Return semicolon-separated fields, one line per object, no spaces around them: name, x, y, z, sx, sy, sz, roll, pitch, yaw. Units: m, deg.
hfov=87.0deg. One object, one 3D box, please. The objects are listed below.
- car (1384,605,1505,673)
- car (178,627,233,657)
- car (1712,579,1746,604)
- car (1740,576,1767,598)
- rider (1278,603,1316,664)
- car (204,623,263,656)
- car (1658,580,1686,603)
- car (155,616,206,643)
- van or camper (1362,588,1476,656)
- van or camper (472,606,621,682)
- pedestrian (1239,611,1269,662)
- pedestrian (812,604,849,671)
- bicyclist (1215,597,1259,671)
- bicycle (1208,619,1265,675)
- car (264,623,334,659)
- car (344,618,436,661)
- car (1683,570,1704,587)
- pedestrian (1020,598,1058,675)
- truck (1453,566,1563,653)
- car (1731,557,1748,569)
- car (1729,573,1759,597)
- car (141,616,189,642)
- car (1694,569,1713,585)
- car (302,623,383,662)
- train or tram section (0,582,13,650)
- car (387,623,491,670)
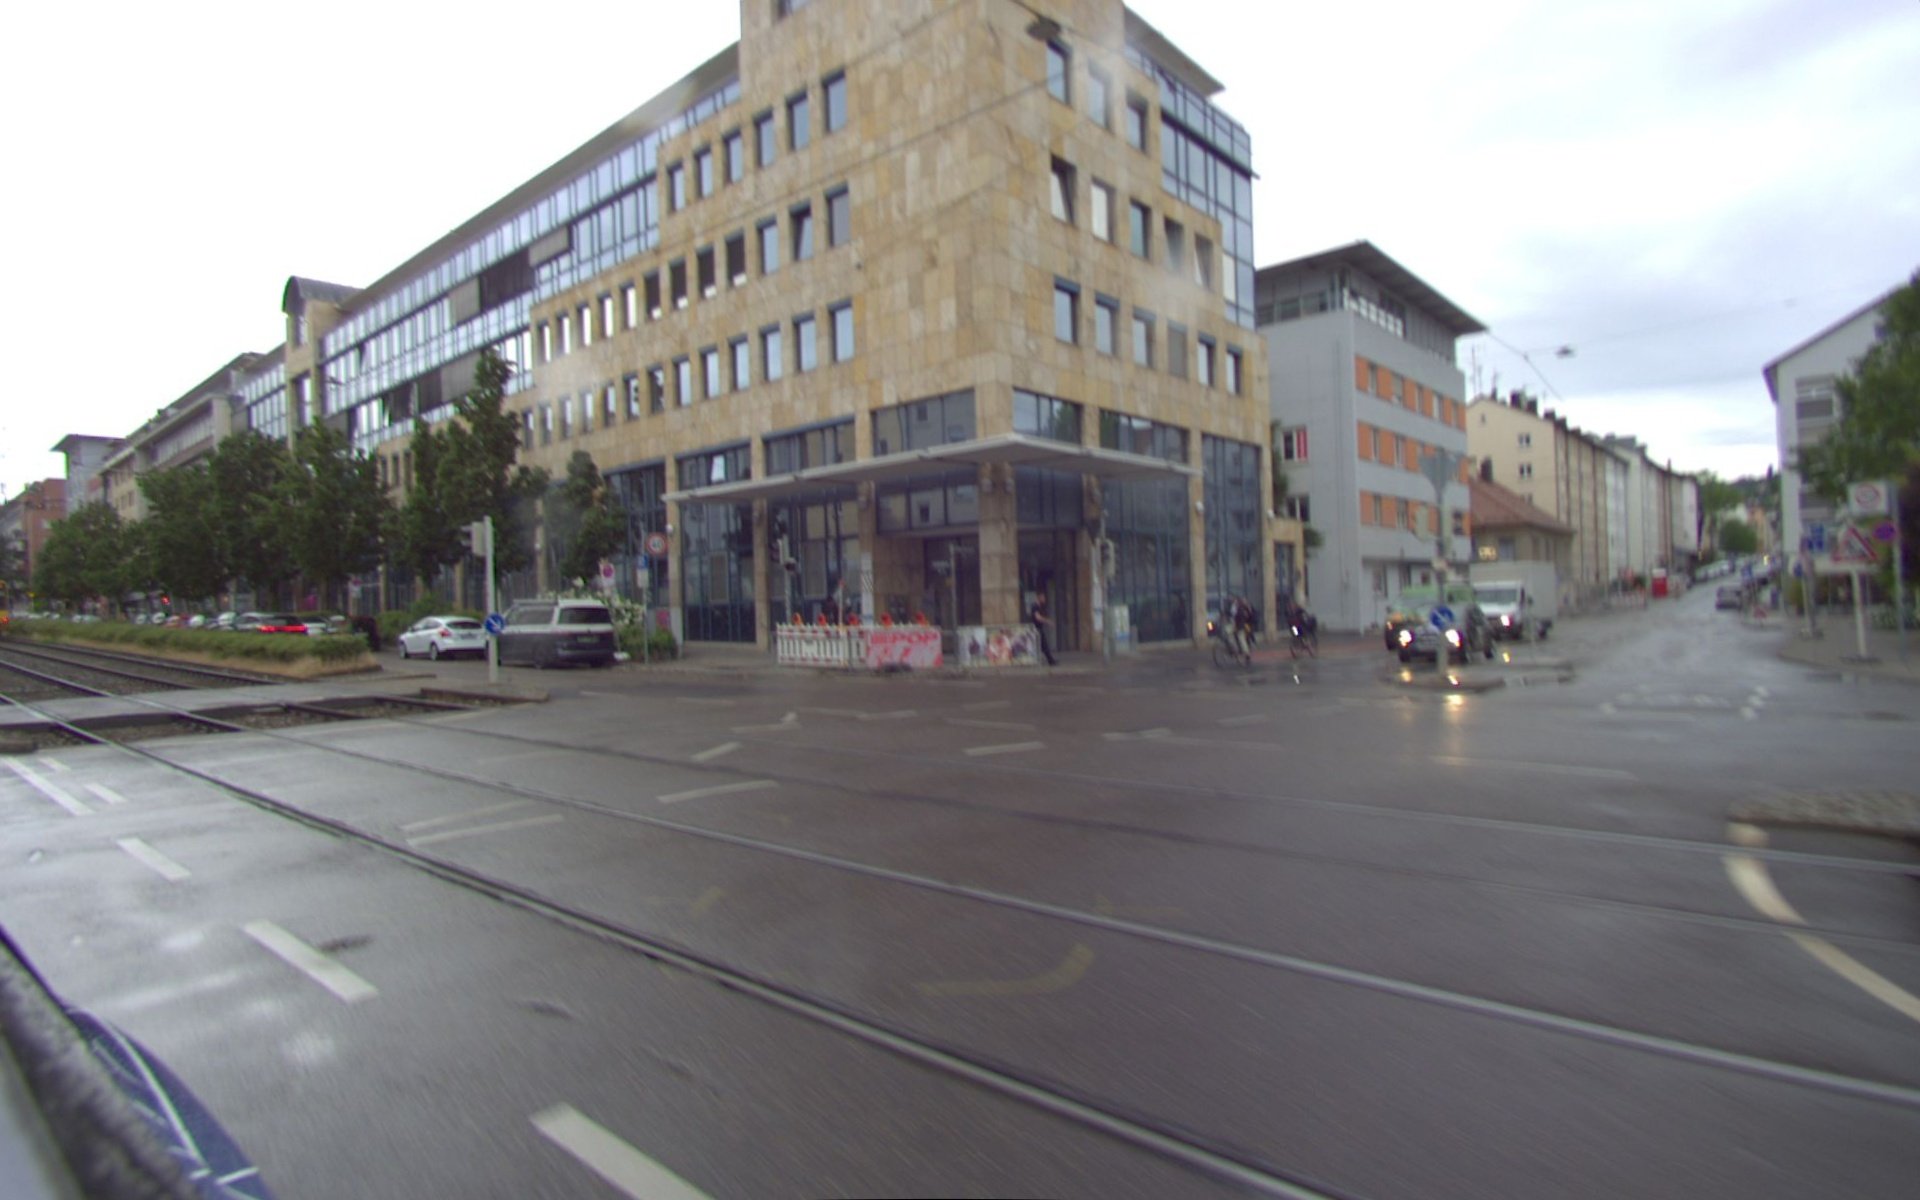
car;12.373;0.944;25.717;1.889;1.541;3.948;-2;-1;39
car;-42.351;2.309;56.748;4.620;1.552;1.631;-1;-1;42
car;56.879;-0.650;74.853;1.780;1.747;4.110;-2;0;40
car;74.371;-1.233;94.861;1.780;1.884;3.970;-2;0;40
rider;9.646;0.949;28.948;0.783;1.688;0.701;-2;-1;41
car;-37.733;2.036;52.518;4.291;1.613;1.631;-1;-1;42
car;64.488;-0.769;91.672;1.655;2.029;3.437;-3;-1;41
car;-46.761;1.741;60.687;4.620;1.552;1.631;-1;-1;42
van or camper;15.304;0.688;33.600;2.095;2.077;5.030;-2;-1;40
van or camper;-12.276;1.199;29.835;5.196;2.012;1.996;0;0;42
pedestrian;9.686;1.212;33.328;0.703;1.649;0.573;-2;-1;42
pedestrian;-3.609;1.049;28.223;0.679;1.828;0.693;-3;-1;44
bicyclist;6.944;0.841;25.388;0.783;1.818;0.701;-2;-1;41
bicycle;6.936;1.155;25.351;0.659;1.321;1.746;-2;-1;40
car;-29.451;1.801;45.051;4.191;1.509;1.631;-1;-1;42
car;-21.996;1.521;38.998;4.291;1.497;1.672;-2;-1;40
car;90.987;-2.620;125.543;1.997;2.029;3.950;-1;-1;37
pedestrian;1.904;0.875;24.430;0.667;1.794;0.705;-2;-1;-14
truck;22.105;0.329;40.634;2.459;3.188;7.077;-2;-1;40
car;138.438;-6.513;179.687;2.001;2.029;3.942;-1;-1;44
car;66.072;-1.263;85.245;1.780;1.884;3.970;-2;0;40
car;-50.342;1.817;64.037;4.620;1.552;1.631;-1;-1;42
car;97.383;-2.968;132.539;1.997;2.029;3.950;-1;-1;37
car;-25.598;1.745;41.907;3.997;1.497;1.672;-2;-1;40
train or tram section;-64.776;1.001;65.852;18.761;4.081;2.871;-1;-1;42
car;-18.038;1.592;34.974;4.252;1.497;1.672;-2;-1;40
